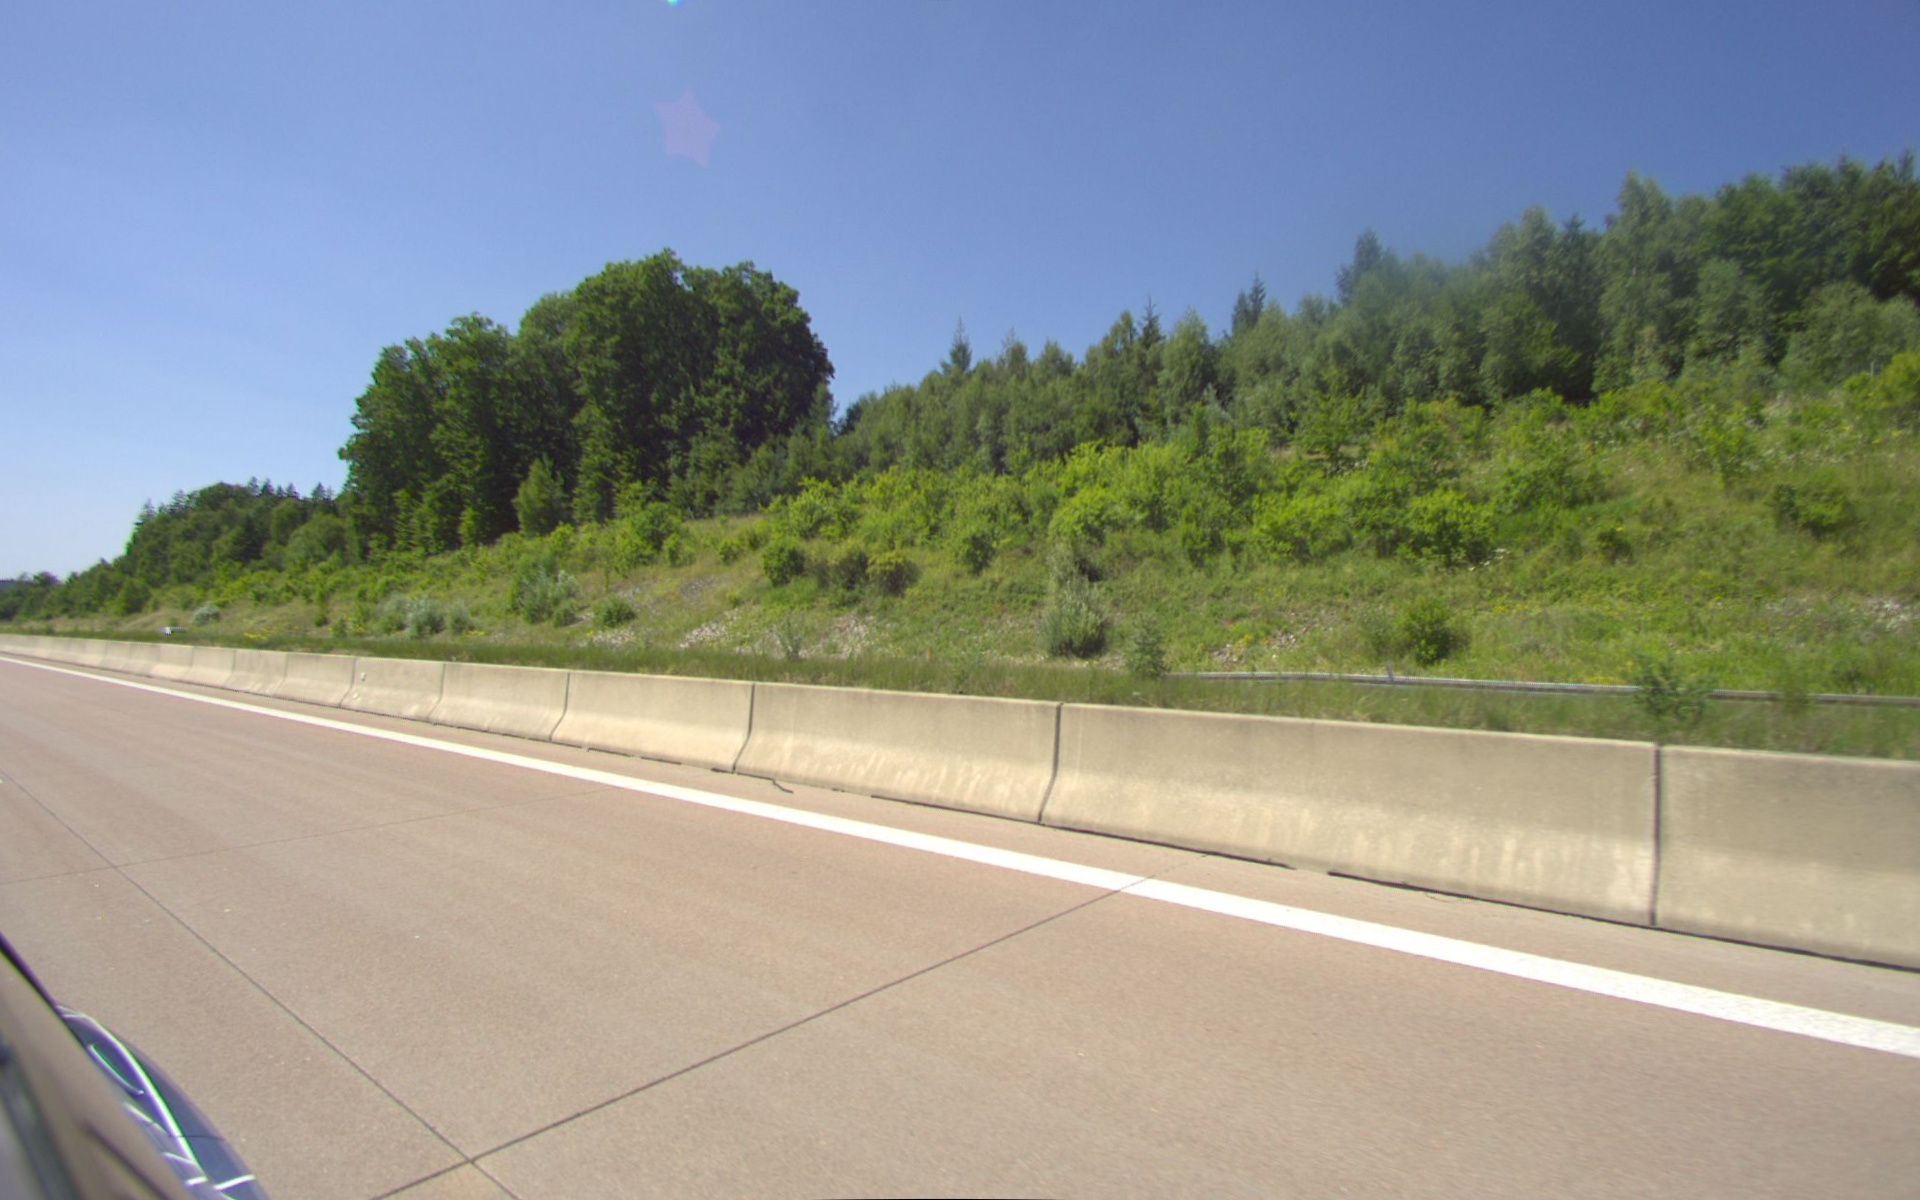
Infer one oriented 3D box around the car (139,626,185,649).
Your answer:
[{"bbox_3d":[-62.237,2.909,78.875,4.658,1.664,1.872,-3,-2,39],"label":"car"}]
